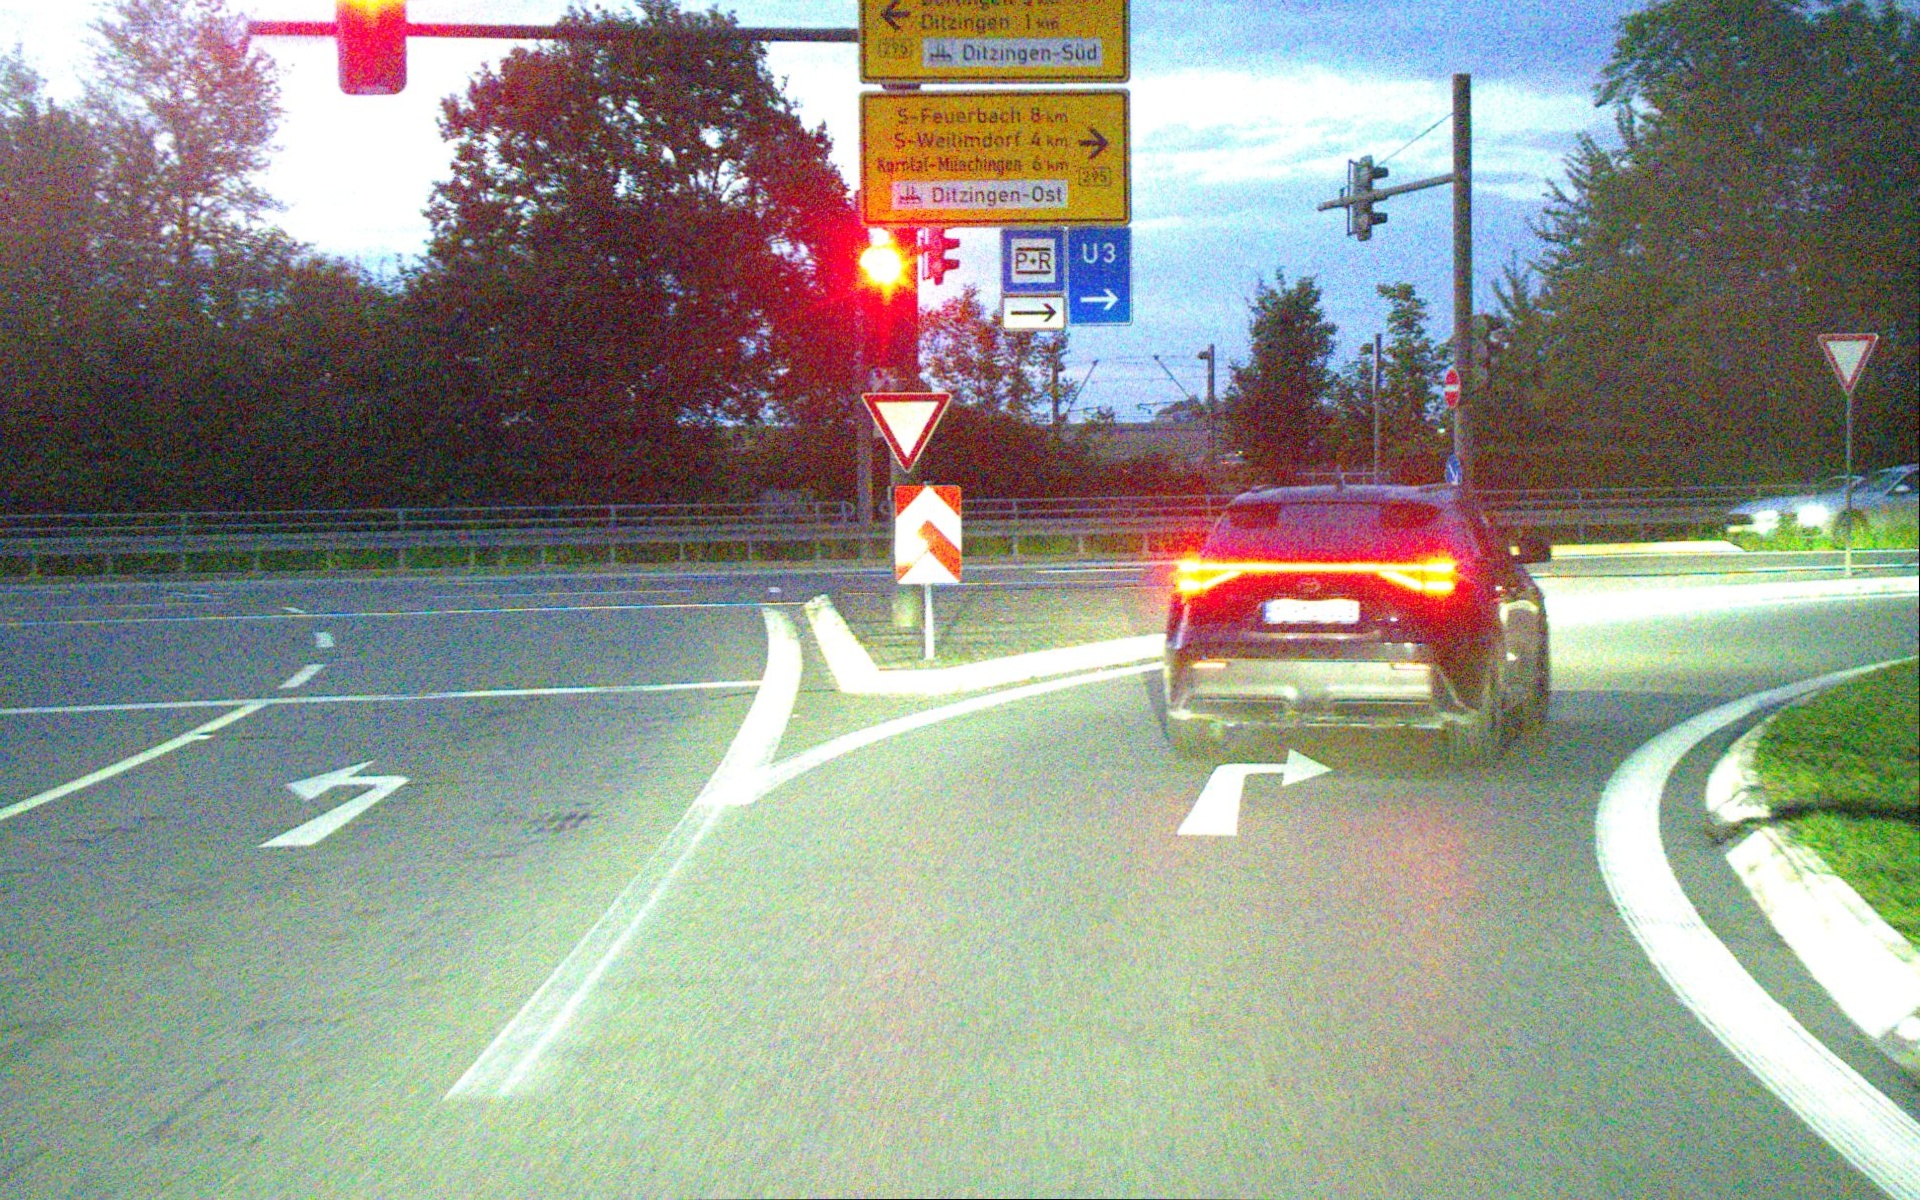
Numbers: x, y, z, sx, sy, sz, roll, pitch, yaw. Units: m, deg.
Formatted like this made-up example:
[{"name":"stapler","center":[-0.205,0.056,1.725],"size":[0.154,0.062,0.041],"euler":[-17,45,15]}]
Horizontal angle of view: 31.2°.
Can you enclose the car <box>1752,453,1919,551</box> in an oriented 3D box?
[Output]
[{"name":"car","center":[16.638,-1.730,60.548],"size":[4.856,1.676,2.001],"euler":[-1,1,-15]}]

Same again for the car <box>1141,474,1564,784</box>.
[{"name":"car","center":[2.507,0.069,20.929],"size":[1.902,1.614,4.554],"euler":[1,3,15]}]

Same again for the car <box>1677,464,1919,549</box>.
[{"name":"car","center":[15.928,-1.751,63.806],"size":[4.717,1.448,2.001],"euler":[-2,2,-14]}]
